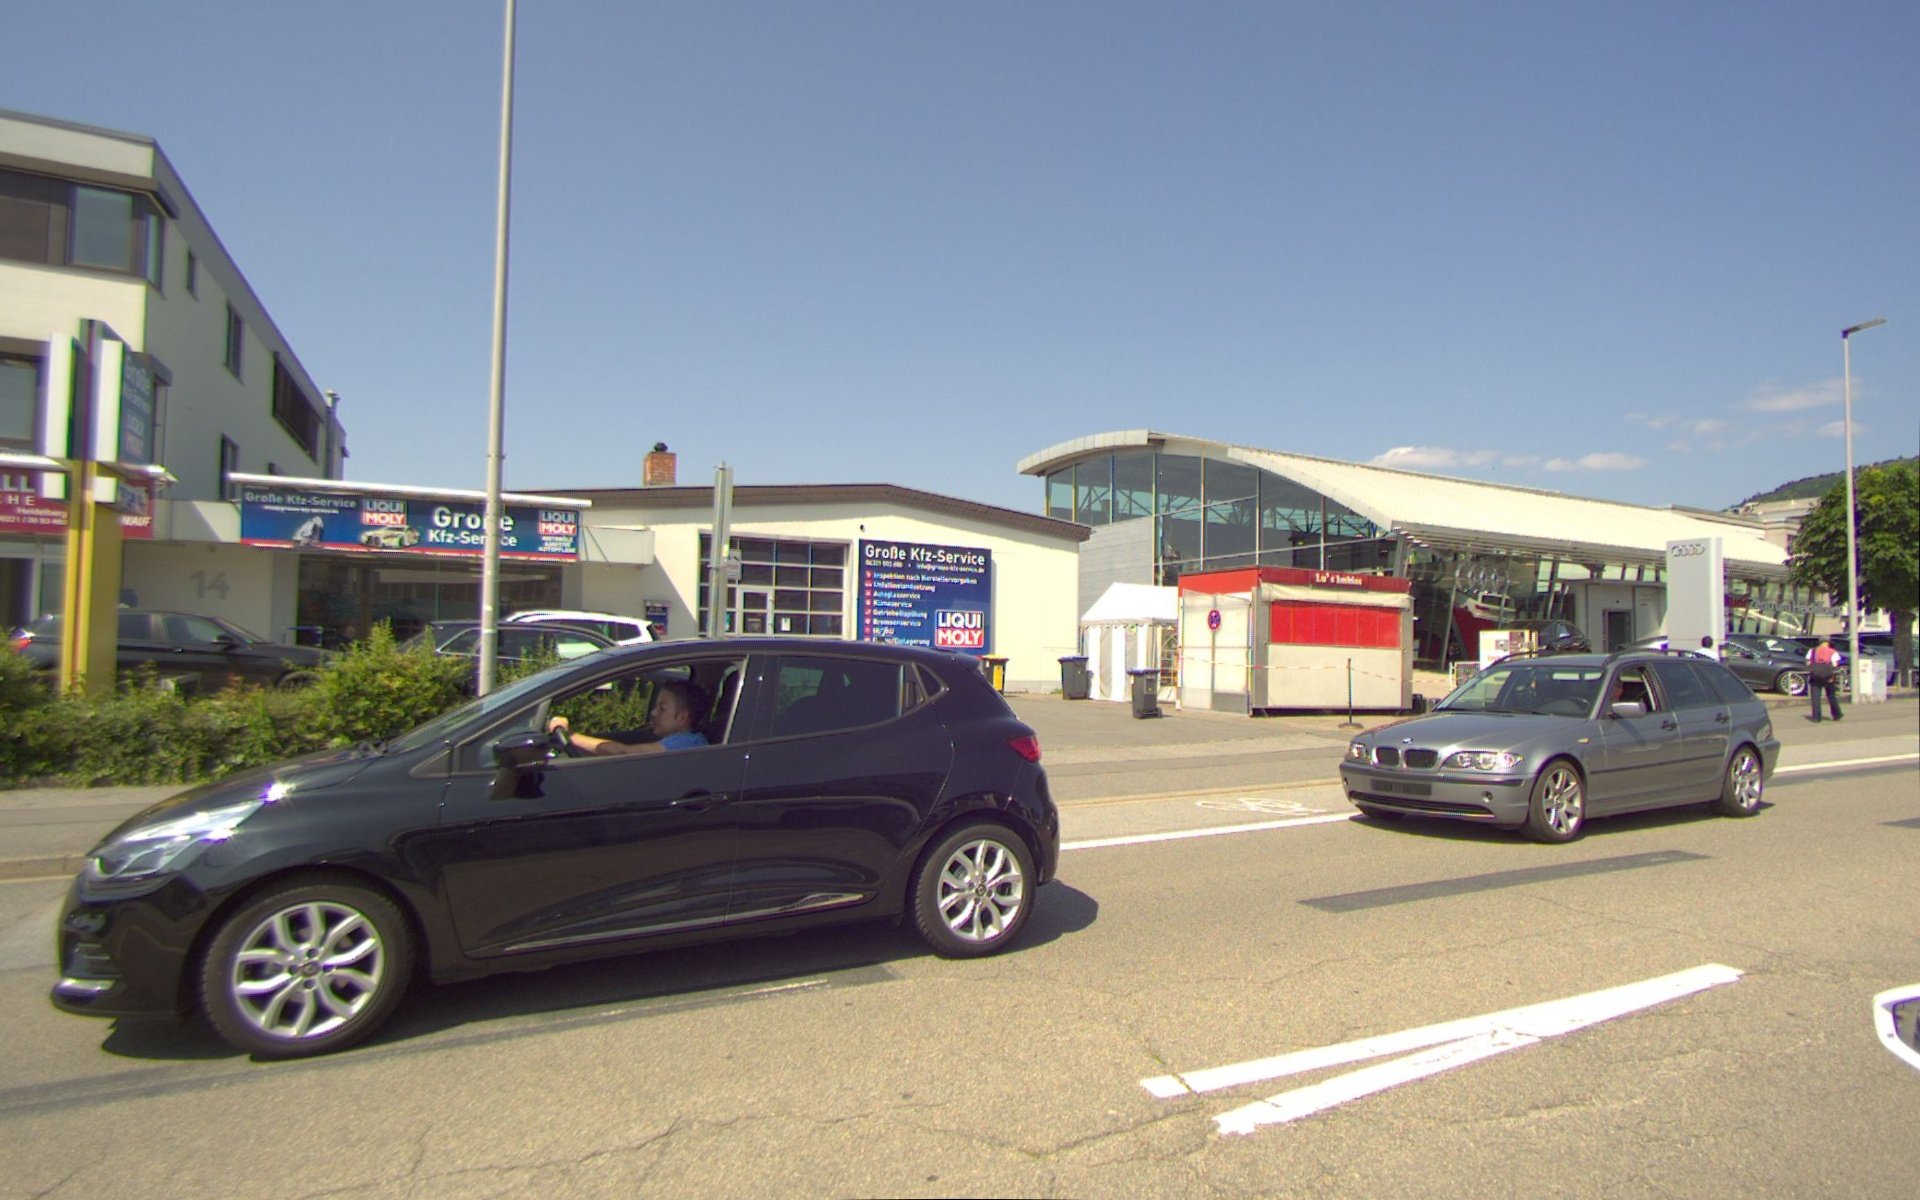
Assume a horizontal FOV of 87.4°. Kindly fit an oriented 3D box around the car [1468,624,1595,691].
[{"bbox_3d":[17.053,1.662,29.873,4.700,1.742,1.974,3,0,-44],"label":"car"}]

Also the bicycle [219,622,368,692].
[{"bbox_3d":[-13.104,1.116,19.863,0.687,1.298,2.484,-1,-3,21],"label":"bicycle"}]

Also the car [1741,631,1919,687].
[{"bbox_3d":[26.474,1.772,30.436,4.125,1.514,1.873,1,-2,27],"label":"car"}]

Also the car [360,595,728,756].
[{"bbox_3d":[-5.097,0.906,12.590,3.947,1.737,1.899,1,-3,-26],"label":"car"}]

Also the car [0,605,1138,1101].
[{"bbox_3d":[-1.406,0.852,4.609,4.182,1.473,1.657,1,-5,-25],"label":"car"}]

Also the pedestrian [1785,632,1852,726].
[{"bbox_3d":[17.798,1.621,20.834,1.035,1.892,0.729,1,-3,-31],"label":"pedestrian"}]

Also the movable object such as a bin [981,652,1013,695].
[{"bbox_3d":[0.957,1.891,26.042,0.678,1.062,0.587,1,0,-15],"label":"movable object such as a bin"}]

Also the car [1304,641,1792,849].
[{"bbox_3d":[5.168,1.110,8.720,4.273,1.422,1.734,2,-5,-30],"label":"car"}]

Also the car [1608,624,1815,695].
[{"bbox_3d":[19.930,1.548,26.875,4.084,1.478,1.906,4,-1,27],"label":"car"}]

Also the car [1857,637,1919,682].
[{"bbox_3d":[35.234,2.147,36.288,3.931,1.570,1.855,-1,-2,32],"label":"car"}]

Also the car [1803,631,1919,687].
[{"bbox_3d":[30.087,1.875,32.070,4.496,1.719,1.857,-1,-2,27],"label":"car"}]

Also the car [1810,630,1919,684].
[{"bbox_3d":[32.098,1.946,34.255,4.398,1.730,1.908,1,-1,27],"label":"car"}]

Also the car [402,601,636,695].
[{"bbox_3d":[-9.289,1.021,21.386,4.359,1.840,1.902,1,-3,-25],"label":"car"}]

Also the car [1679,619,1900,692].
[{"bbox_3d":[23.241,1.506,28.399,4.400,1.631,1.962,3,3,27],"label":"car"}]

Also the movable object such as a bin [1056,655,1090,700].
[{"bbox_3d":[2.789,1.906,24.787,0.678,1.057,0.564,1,0,-15],"label":"movable object such as a bin"}]

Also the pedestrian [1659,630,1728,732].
[{"bbox_3d":[13.844,1.507,18.967,0.901,1.872,0.719,2,-3,-32],"label":"pedestrian"}]

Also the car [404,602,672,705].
[{"bbox_3d":[-7.904,1.059,19.103,4.417,1.730,1.903,3,-4,-24],"label":"car"}]

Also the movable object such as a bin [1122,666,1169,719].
[{"bbox_3d":[3.458,1.710,18.725,0.678,0.935,0.571,1,0,-15],"label":"movable object such as a bin"}]

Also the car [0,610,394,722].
[{"bbox_3d":[-10.880,0.931,14.681,4.359,1.439,1.902,1,-3,-25],"label":"car"}]
